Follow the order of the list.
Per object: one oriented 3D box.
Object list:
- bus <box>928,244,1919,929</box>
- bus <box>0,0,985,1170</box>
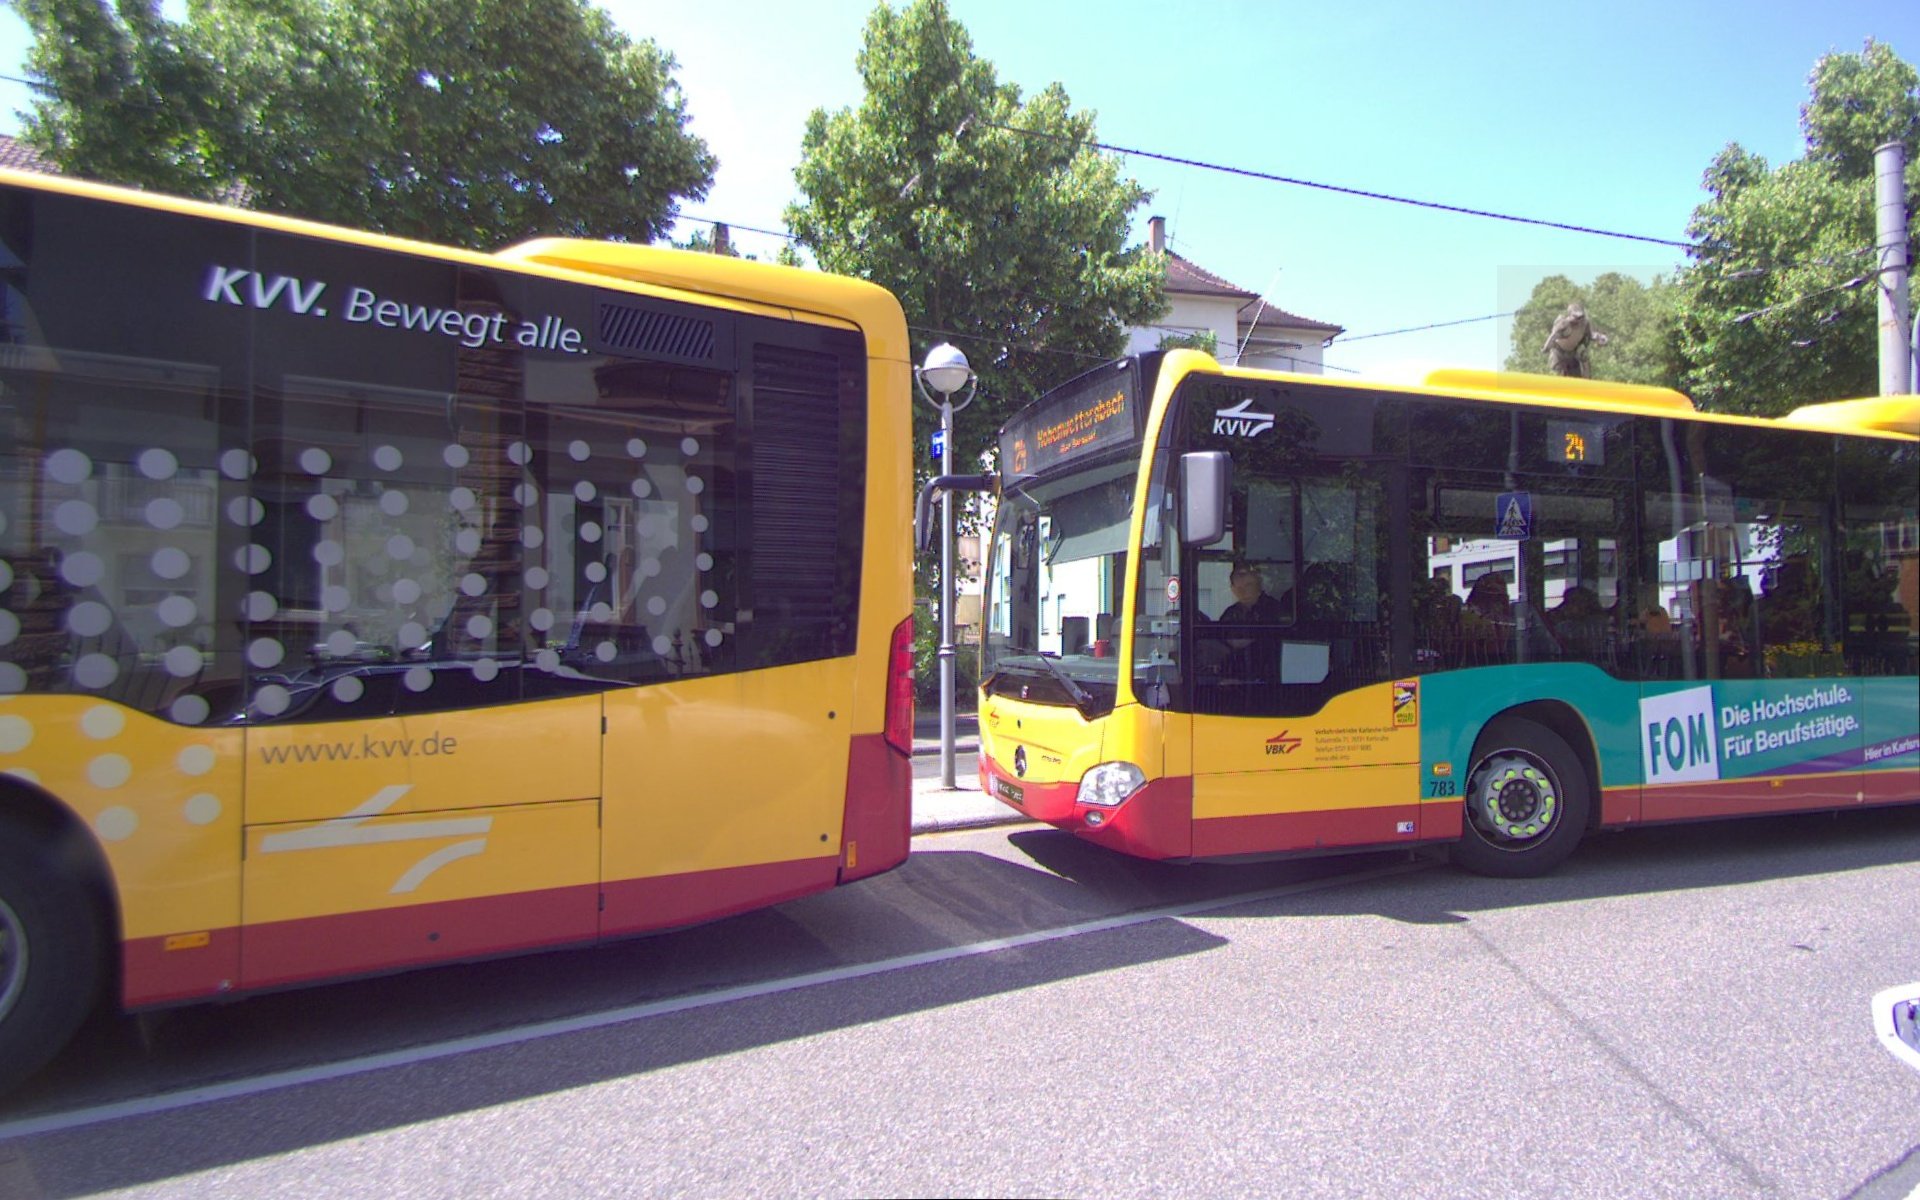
[{"bbox_3d":[5.938,-0.006,8.039,12.113,3.251,2.777,1,0,-19],"label":"bus"},{"bbox_3d":[-5.787,-0.151,2.595,11.979,3.291,2.893,2,0,-31],"label":"bus"}]
